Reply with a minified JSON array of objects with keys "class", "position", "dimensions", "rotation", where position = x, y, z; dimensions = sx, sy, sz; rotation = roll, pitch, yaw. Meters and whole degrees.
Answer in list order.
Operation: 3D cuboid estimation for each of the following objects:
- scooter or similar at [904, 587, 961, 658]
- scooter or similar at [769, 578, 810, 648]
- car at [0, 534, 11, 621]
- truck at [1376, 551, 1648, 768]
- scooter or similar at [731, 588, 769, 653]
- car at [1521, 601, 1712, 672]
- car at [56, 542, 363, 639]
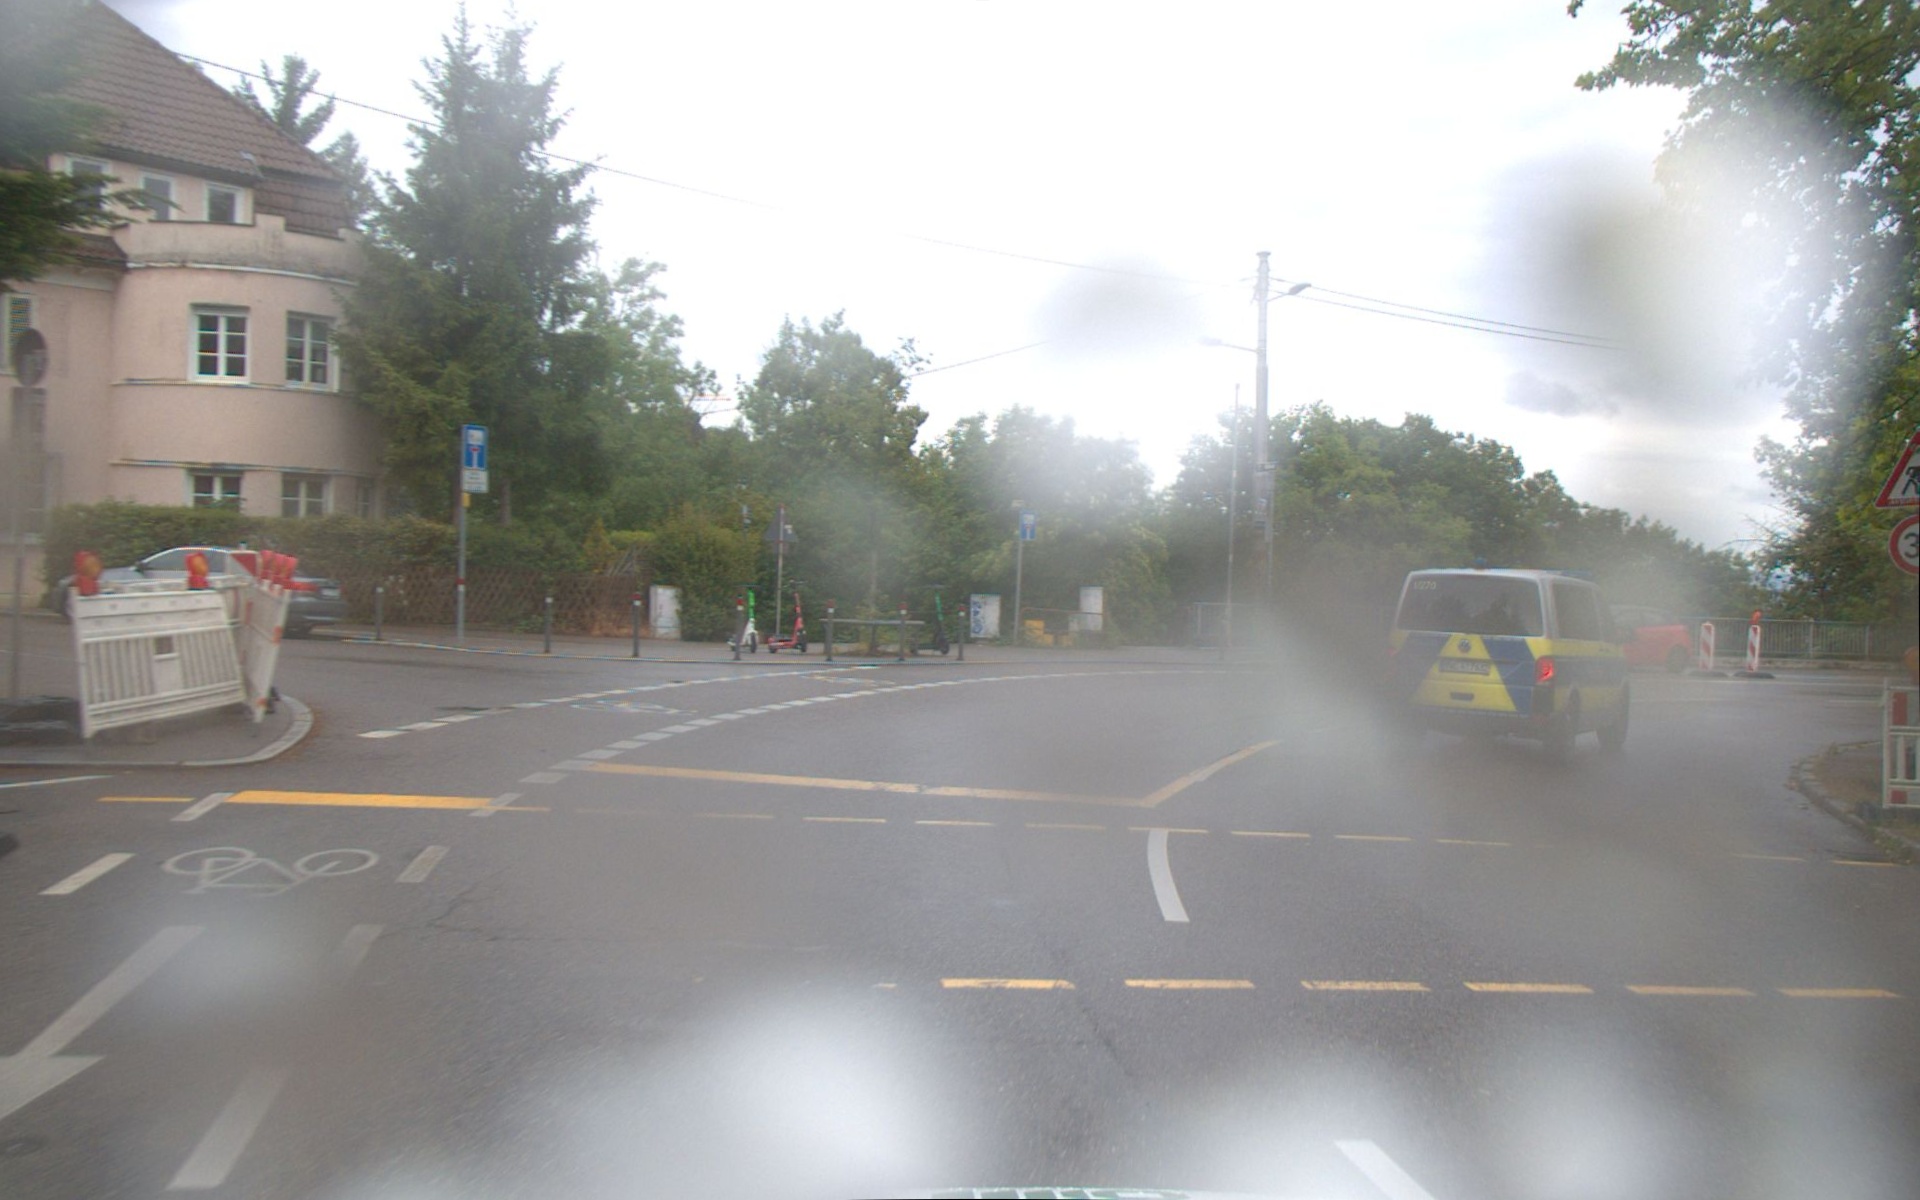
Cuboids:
[{"class":"scooter or similar","position":[-0.509,0.413,30.303],"dimensions":[1.015,1.239,0.243],"rotation":[3,0,30]},{"class":"scooter or similar","position":[-3.008,0.226,29.102],"dimensions":[0.240,1.184,1.026],"rotation":[3,0,-32]},{"class":"car","position":[-17.644,-0.468,26.212],"dimensions":[4.114,1.426,1.672],"rotation":[3,0,-10]},{"class":"truck","position":[6.365,0.608,18.693],"dimensions":[1.957,2.048,4.725],"rotation":[3,1,30]},{"class":"scooter or similar","position":[-3.707,0.354,29.119],"dimensions":[0.240,1.087,1.027],"rotation":[3,1,-30]},{"class":"car","position":[15.227,0.846,38.374],"dimensions":[4.065,1.422,1.680],"rotation":[3,0,-22]},{"class":"car","position":[-12.005,-0.151,26.633],"dimensions":[4.105,1.288,1.675],"rotation":[3,0,0]}]
